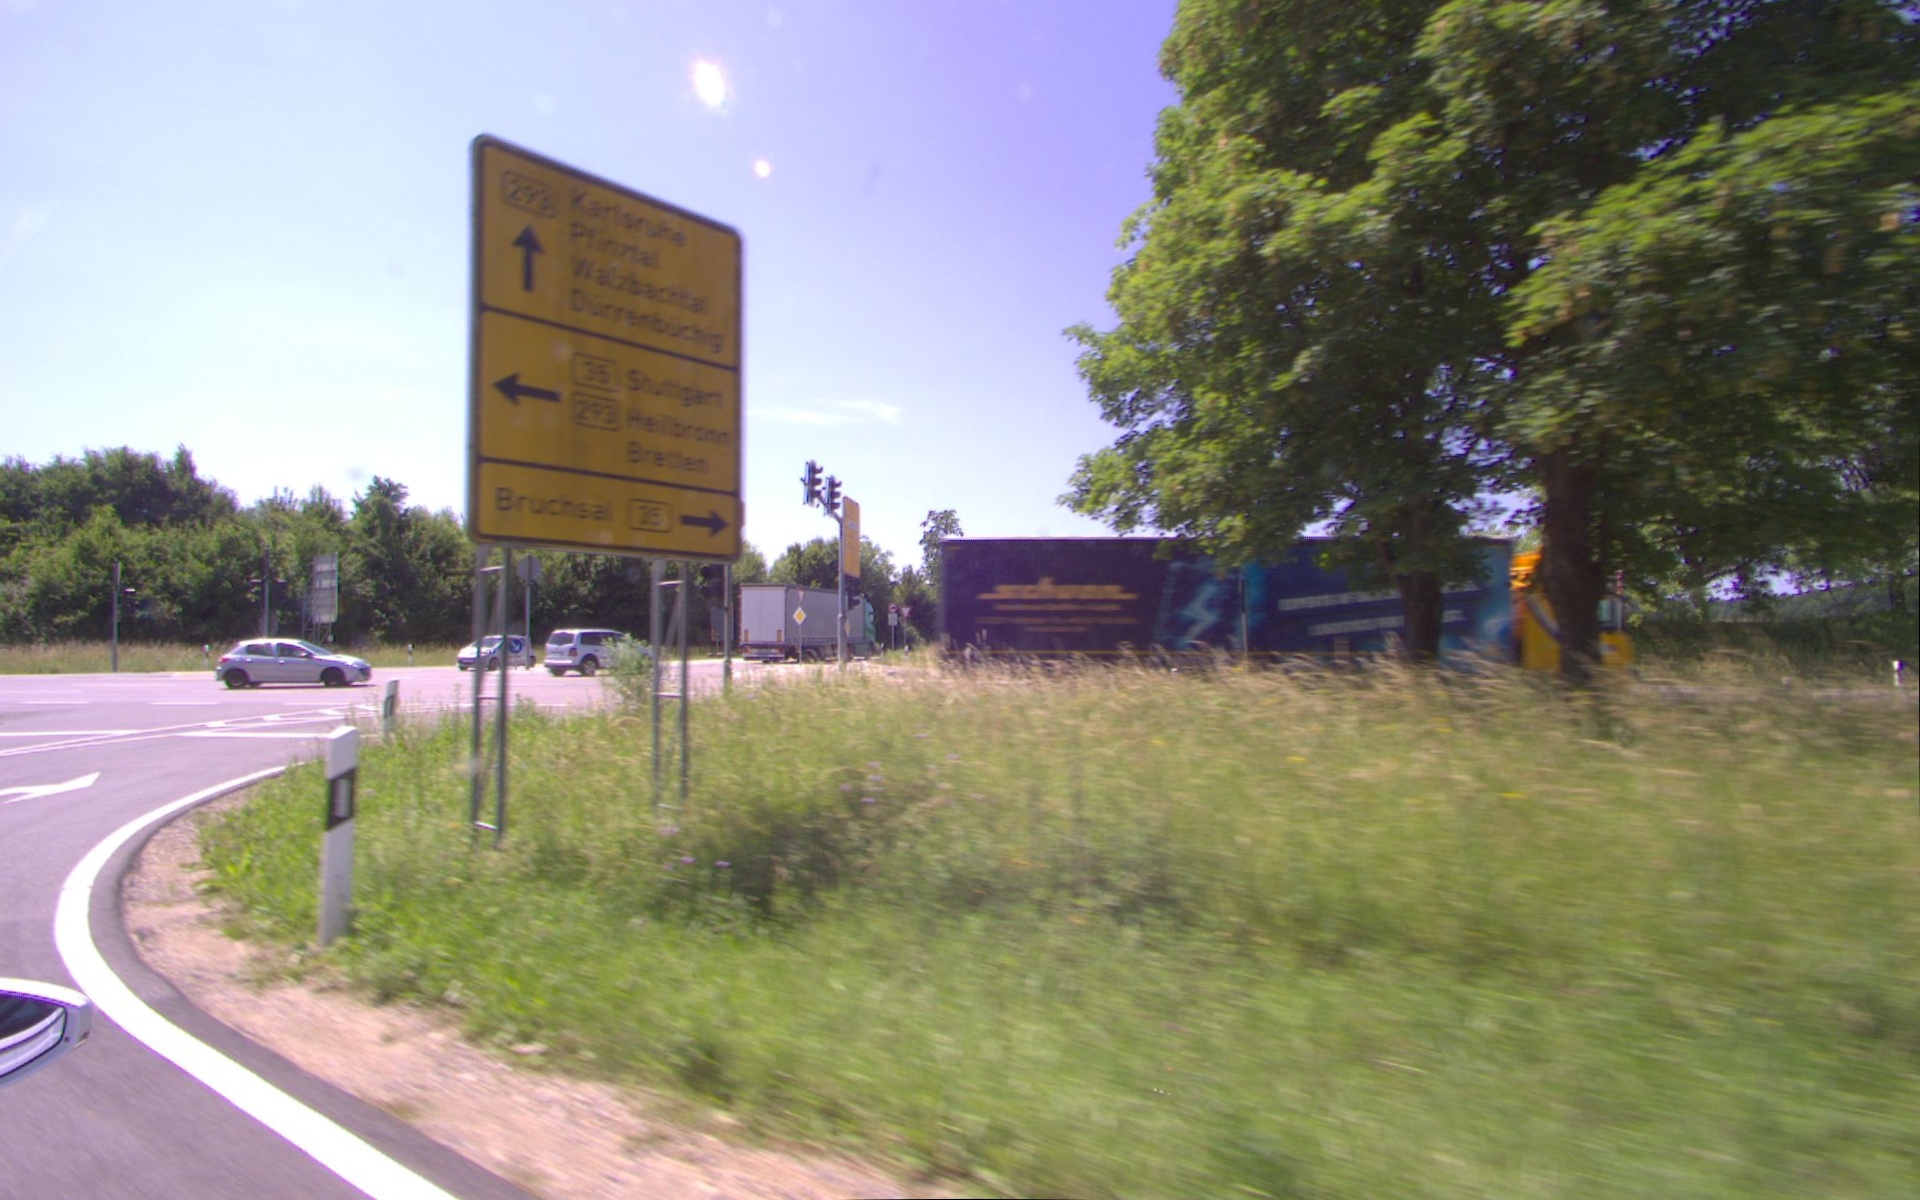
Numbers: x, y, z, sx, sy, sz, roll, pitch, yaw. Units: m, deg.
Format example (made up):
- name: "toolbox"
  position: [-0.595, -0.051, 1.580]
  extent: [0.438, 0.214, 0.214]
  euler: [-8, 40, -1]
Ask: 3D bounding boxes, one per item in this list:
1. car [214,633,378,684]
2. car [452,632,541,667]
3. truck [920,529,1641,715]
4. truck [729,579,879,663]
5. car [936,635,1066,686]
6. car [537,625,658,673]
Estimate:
- name: "car"
  position: [-19.790, 1.715, 30.021]
  extent: [3.718, 1.431, 1.815]
  euler: [1, -1, -18]
- name: "car"
  position: [-19.638, 2.072, 42.563]
  extent: [1.541, 1.388, 3.528]
  euler: [0, -1, 15]
- name: "truck"
  position: [7.387, 0.505, 24.769]
  extent: [16.483, 4.184, 2.853]
  euler: [0, -1, 3]
- name: "truck"
  position: [-8.543, 1.212, 58.523]
  extent: [3.076, 4.227, 16.678]
  euler: [0, -1, 11]
- name: "car"
  position: [1.333, 1.935, 32.326]
  extent: [4.089, 1.489, 1.729]
  euler: [1, 0, 3]
- name: "car"
  position: [-13.337, 1.767, 37.072]
  extent: [1.791, 1.646, 4.041]
  euler: [-1, -1, 30]
